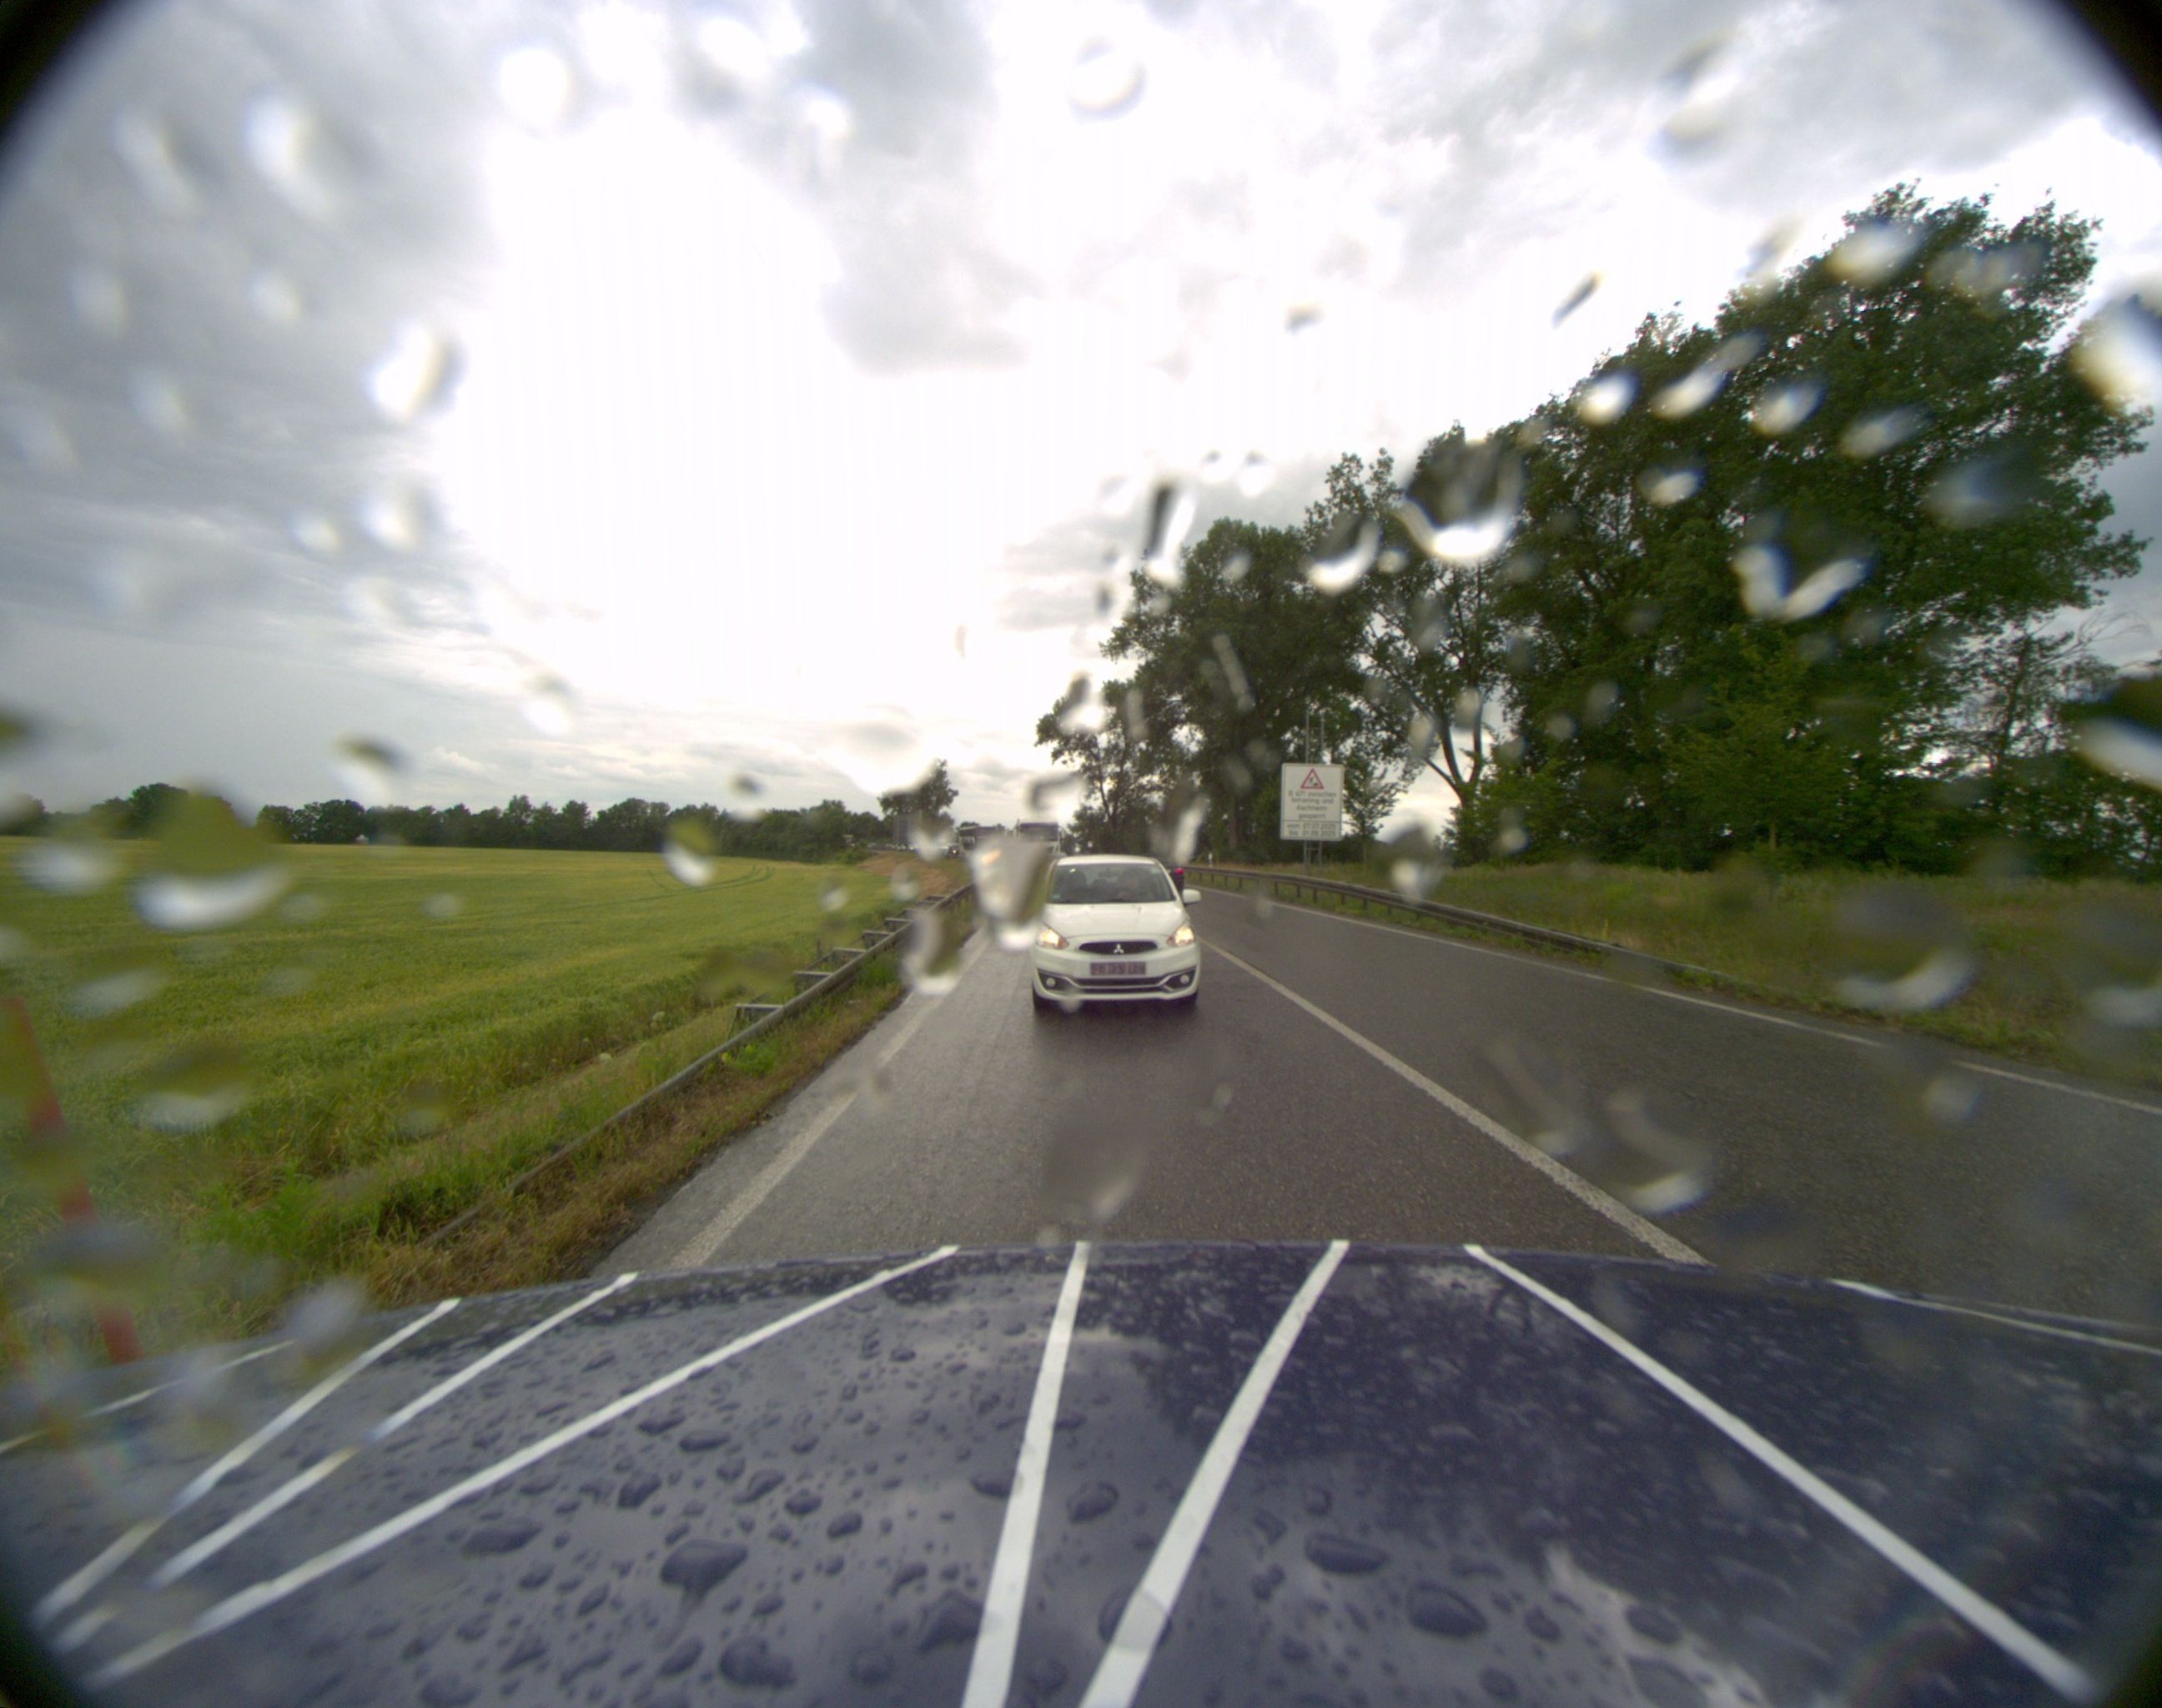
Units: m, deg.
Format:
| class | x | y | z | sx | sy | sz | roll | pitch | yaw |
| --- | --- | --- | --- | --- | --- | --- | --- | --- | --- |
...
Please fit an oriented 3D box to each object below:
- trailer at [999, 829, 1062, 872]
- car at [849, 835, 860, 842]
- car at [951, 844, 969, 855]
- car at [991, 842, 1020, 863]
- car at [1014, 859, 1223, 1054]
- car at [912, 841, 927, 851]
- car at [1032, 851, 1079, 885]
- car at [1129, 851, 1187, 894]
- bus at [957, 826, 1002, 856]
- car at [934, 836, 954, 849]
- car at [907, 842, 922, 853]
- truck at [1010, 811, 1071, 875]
| class | x | y | z | sx | sy | sz | roll | pitch | yaw |
| --- | --- | --- | --- | --- | --- | --- | --- | --- | --- |
| trailer | -3.980 | -0.343 | 55.009 | 2.986 | 2.618 | 15.665 | -2 | 1 | -9 |
| car | -64.851 | -4.441 | 217.430 | 1.785 | 1.918 | 4.167 | -3 | 2 | -31 |
| car | -16.942 | -0.639 | 106.441 | 1.816 | 1.569 | 3.993 | -2 | 1 | -18 |
| car | -7.105 | -0.145 | 71.166 | 2.044 | 1.832 | 5.329 | -2 | 1 | -13 |
| car | 0.309 | 0.846 | 8.182 | 1.653 | 1.461 | 4.029 | -2 | 1 | 0 |
| car | -34.659 | -1.722 | 163.330 | 2.003 | 2.002 | 4.193 | -2 | 2 | -29 |
| car | -1.258 | 0.611 | 35.630 | 1.782 | 1.380 | 4.324 | -2 | 1 | -8 |
| car | 2.804 | 0.642 | 28.516 | 1.634 | 1.389 | 4.318 | -2 | 1 | -1 |
| bus | -12.283 | -1.618 | 90.699 | 2.968 | 3.294 | 14.812 | -2 | 2 | -16 |
| car | -22.345 | -1.884 | 123.615 | 2.002 | 2.002 | 5.325 | -2 | 1 | -23 |
| car | -32.496 | -1.290 | 148.312 | 2.002 | 2.002 | 4.223 | -2 | 1 | -23 |
| truck | -2.600 | -0.688 | 46.593 | 2.986 | 3.589 | 6.074 | -2 | 1 | -9 |
